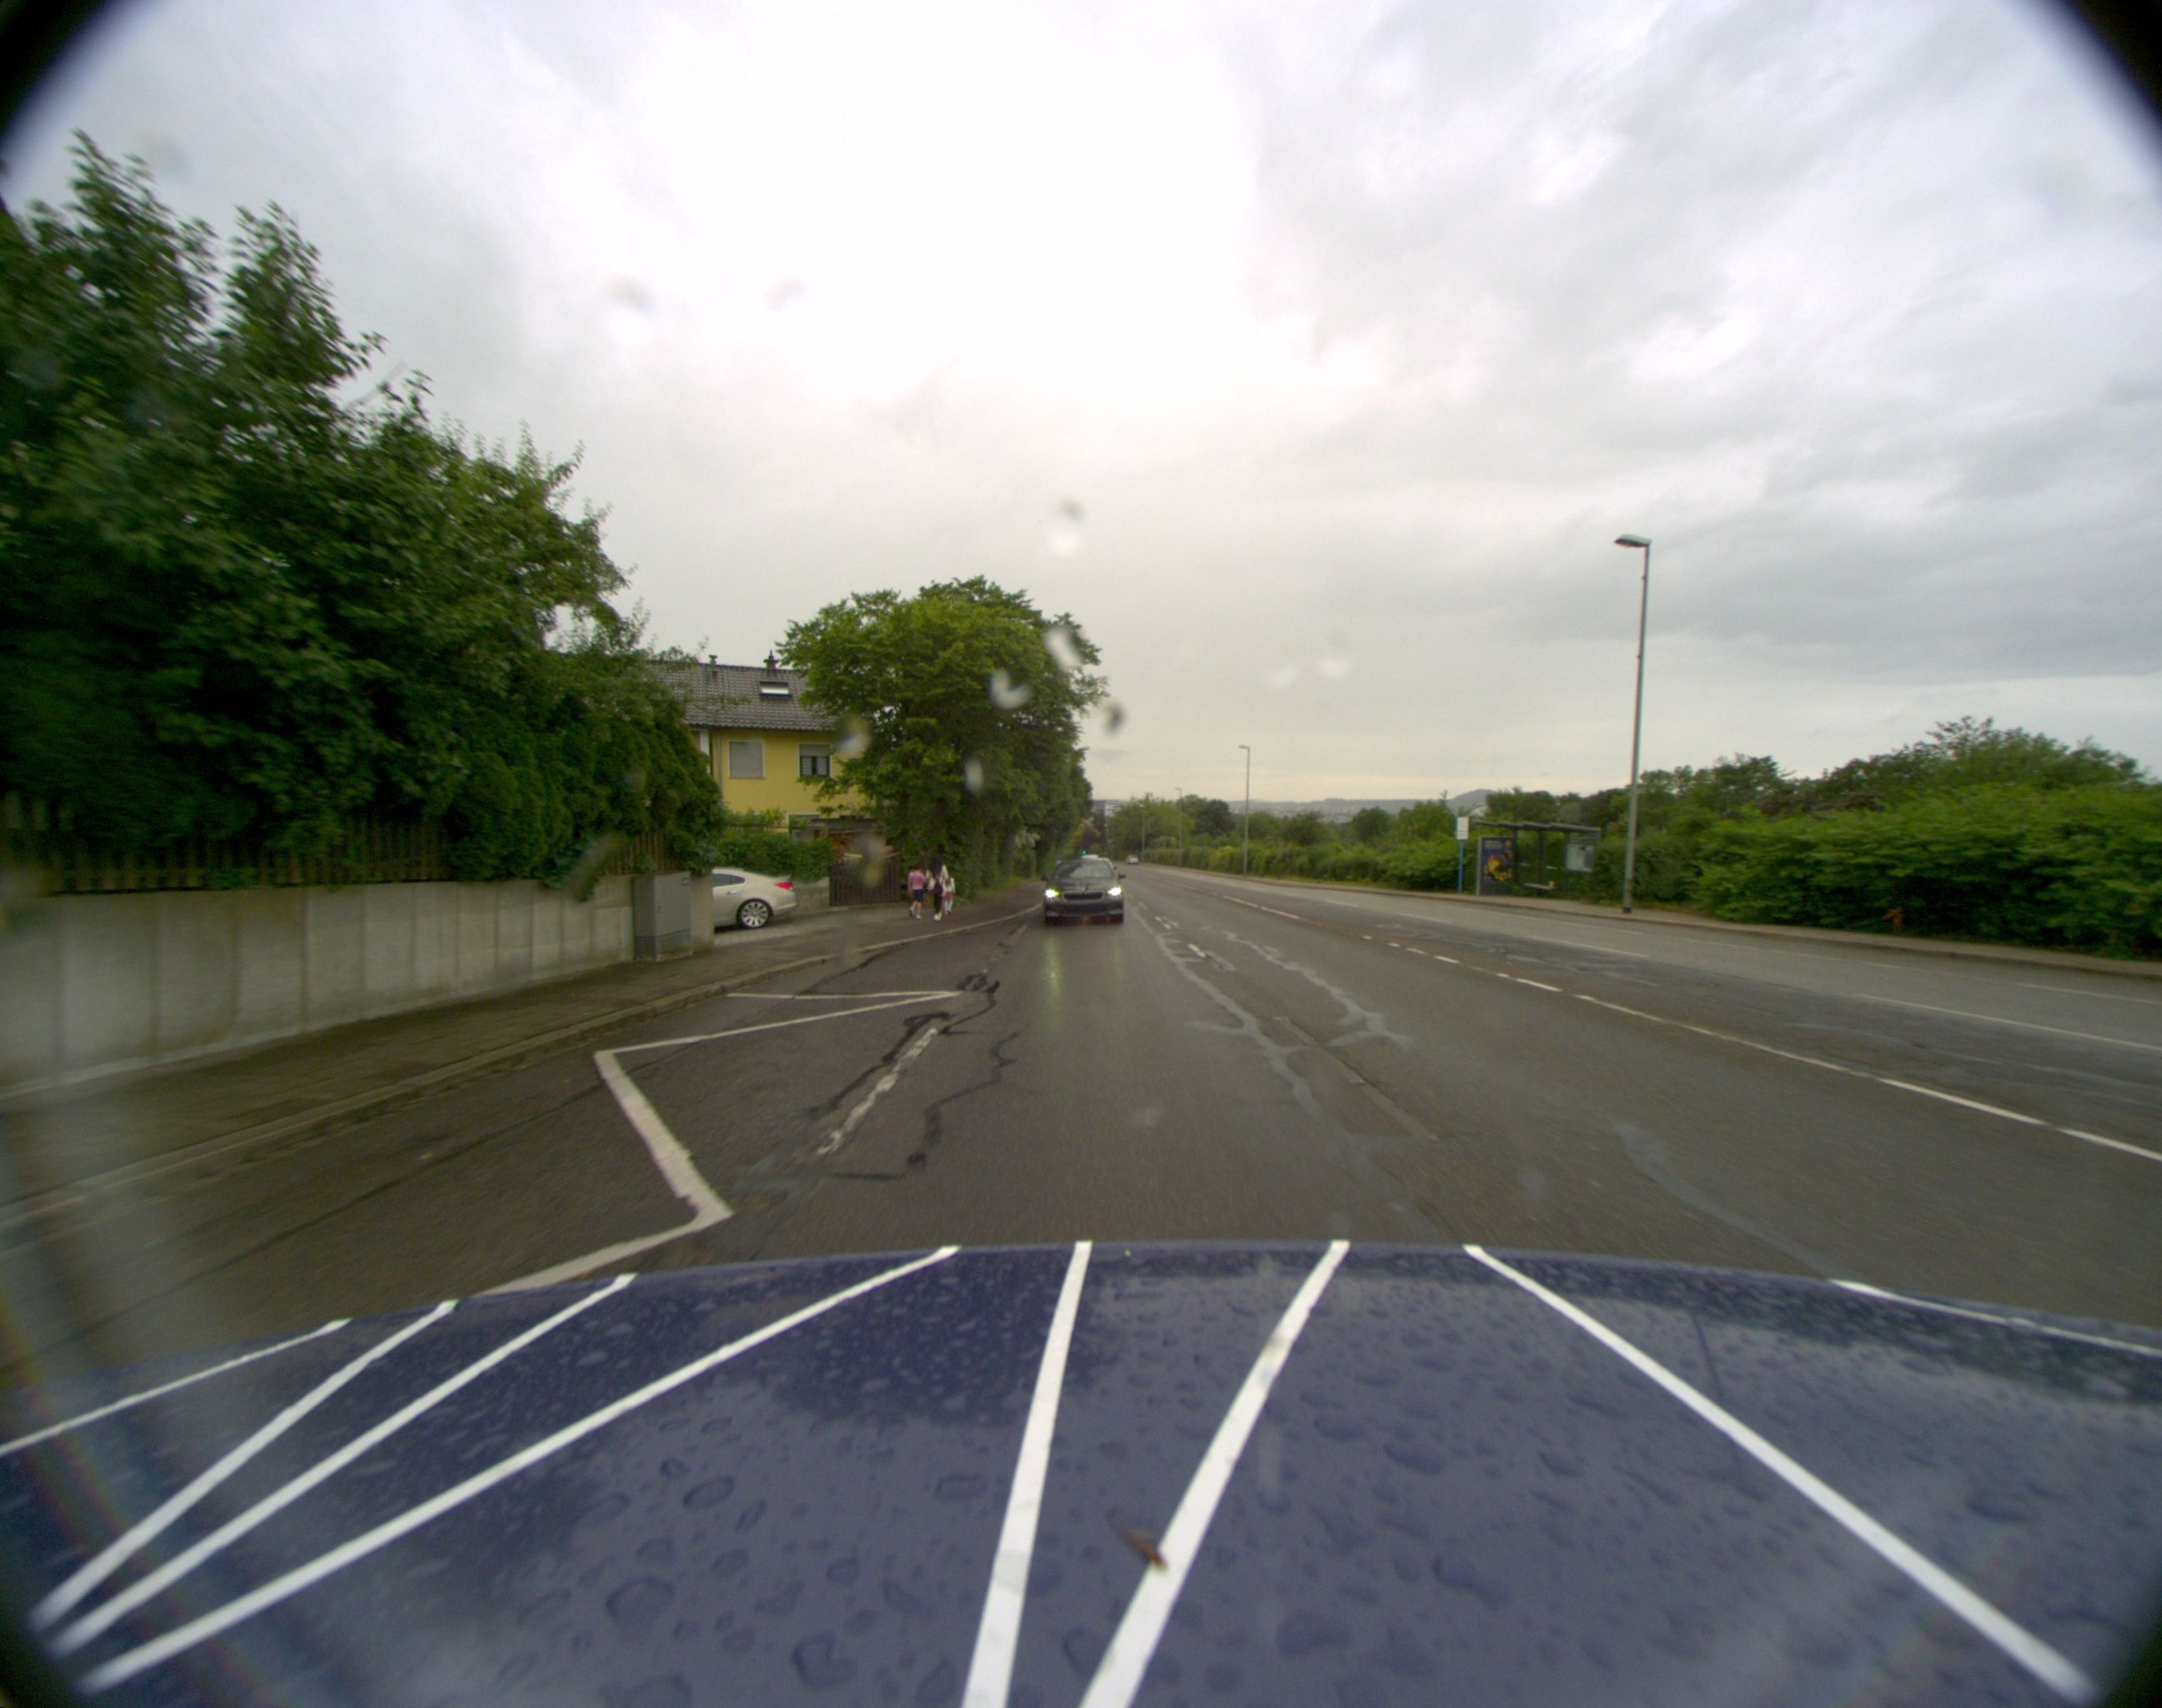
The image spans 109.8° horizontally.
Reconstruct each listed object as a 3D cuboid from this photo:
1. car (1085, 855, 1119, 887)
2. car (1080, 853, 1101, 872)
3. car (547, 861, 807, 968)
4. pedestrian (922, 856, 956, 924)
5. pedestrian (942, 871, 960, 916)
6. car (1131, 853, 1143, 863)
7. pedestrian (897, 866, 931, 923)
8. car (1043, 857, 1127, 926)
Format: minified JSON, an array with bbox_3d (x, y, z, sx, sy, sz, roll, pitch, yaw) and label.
[{"bbox_3d":[1.021,0.816,38.852,1.551,1.505,4.282,0,1,-1],"label":"car"},{"bbox_3d":[0.932,0.773,69.946,1.702,1.670,4.284,0,0,4],"label":"car"},{"bbox_3d":[-8.635,1.191,16.584,4.608,1.413,1.785,-9,5,-29],"label":"car"},{"bbox_3d":[-3.417,0.855,18.303,0.611,1.584,0.646,0,1,9],"label":"pedestrian"},{"bbox_3d":[-3.347,1.010,19.592,0.368,1.140,0.366,0,1,9],"label":"pedestrian"},{"bbox_3d":[9.707,0.702,132.179,1.761,1.559,3.999,1,0,-1],"label":"car"},{"bbox_3d":[-4.032,0.969,18.396,0.603,1.347,0.646,0,1,9],"label":"pedestrian"},{"bbox_3d":[-0.015,0.858,19.304,1.846,1.371,4.281,-3,1,-3],"label":"car"}]
